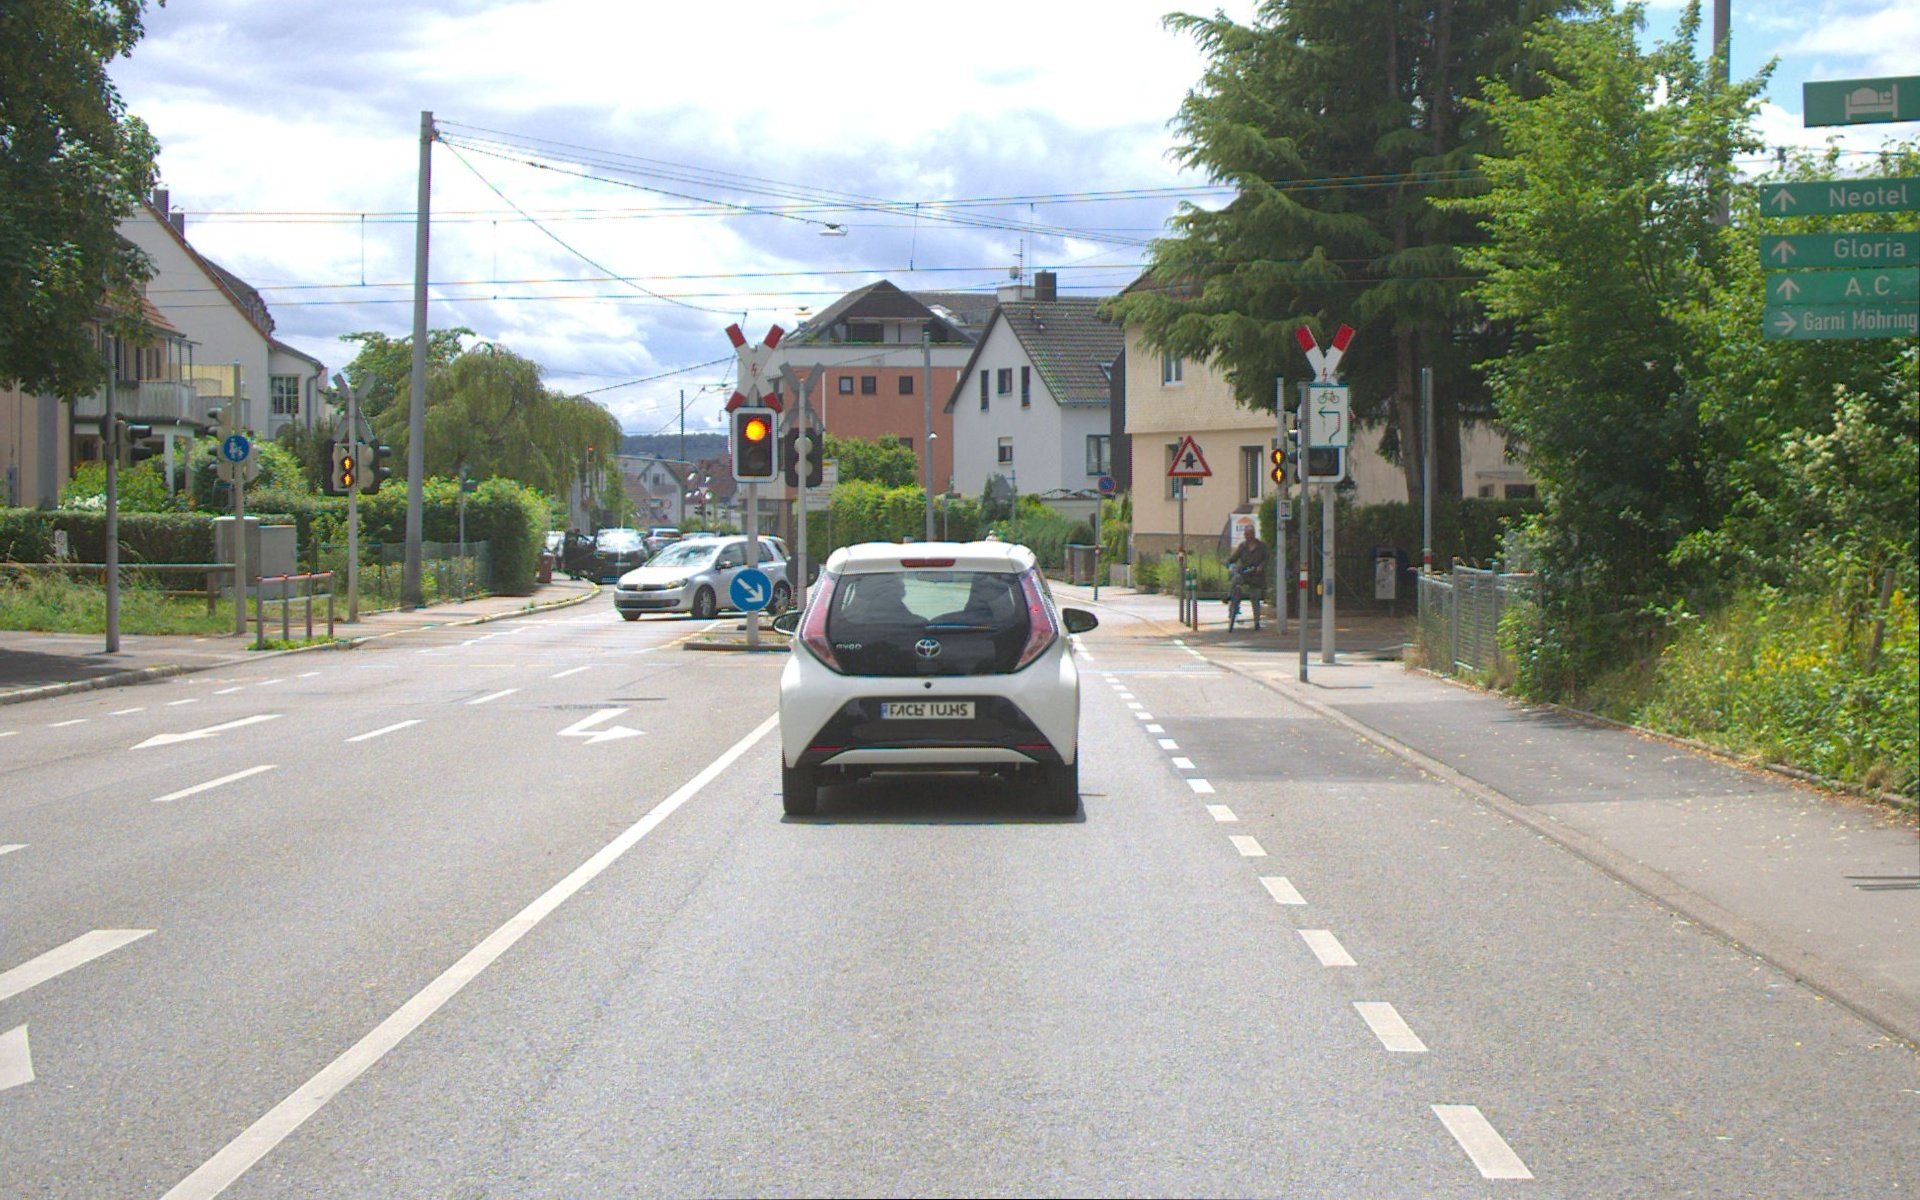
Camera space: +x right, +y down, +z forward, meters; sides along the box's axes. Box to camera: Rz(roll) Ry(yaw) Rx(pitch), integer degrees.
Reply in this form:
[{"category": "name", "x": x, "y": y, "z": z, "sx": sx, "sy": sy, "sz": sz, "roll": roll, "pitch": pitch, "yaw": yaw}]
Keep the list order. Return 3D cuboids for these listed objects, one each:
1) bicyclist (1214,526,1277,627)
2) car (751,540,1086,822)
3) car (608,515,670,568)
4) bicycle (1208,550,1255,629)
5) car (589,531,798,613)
[{"category": "bicyclist", "x": 4.585, "y": -0.381, "z": 55.275, "sx": 0.840, "sy": 1.548, "sz": 0.756, "roll": -3, "pitch": 3, "yaw": -5}, {"category": "car", "x": -0.175, "y": 0.389, "z": 19.729, "sx": 1.721, "sy": 1.437, "sz": 3.708, "roll": 1, "pitch": 1, "yaw": 1}, {"category": "car", "x": -10.726, "y": -1.952, "z": 114.723, "sx": 1.993, "sy": 1.713, "sz": 4.001, "roll": 1, "pitch": 1, "yaw": -5}, {"category": "bicycle", "x": 4.369, "y": -0.183, "z": 55.360, "sx": 0.457, "sy": 1.168, "sz": 1.480, "roll": -3, "pitch": 4, "yaw": -5}, {"category": "car", "x": -4.901, "y": -0.516, "z": 63.732, "sx": 1.908, "sy": 1.436, "sz": 4.092, "roll": 2, "pitch": 1, "yaw": 29}]
